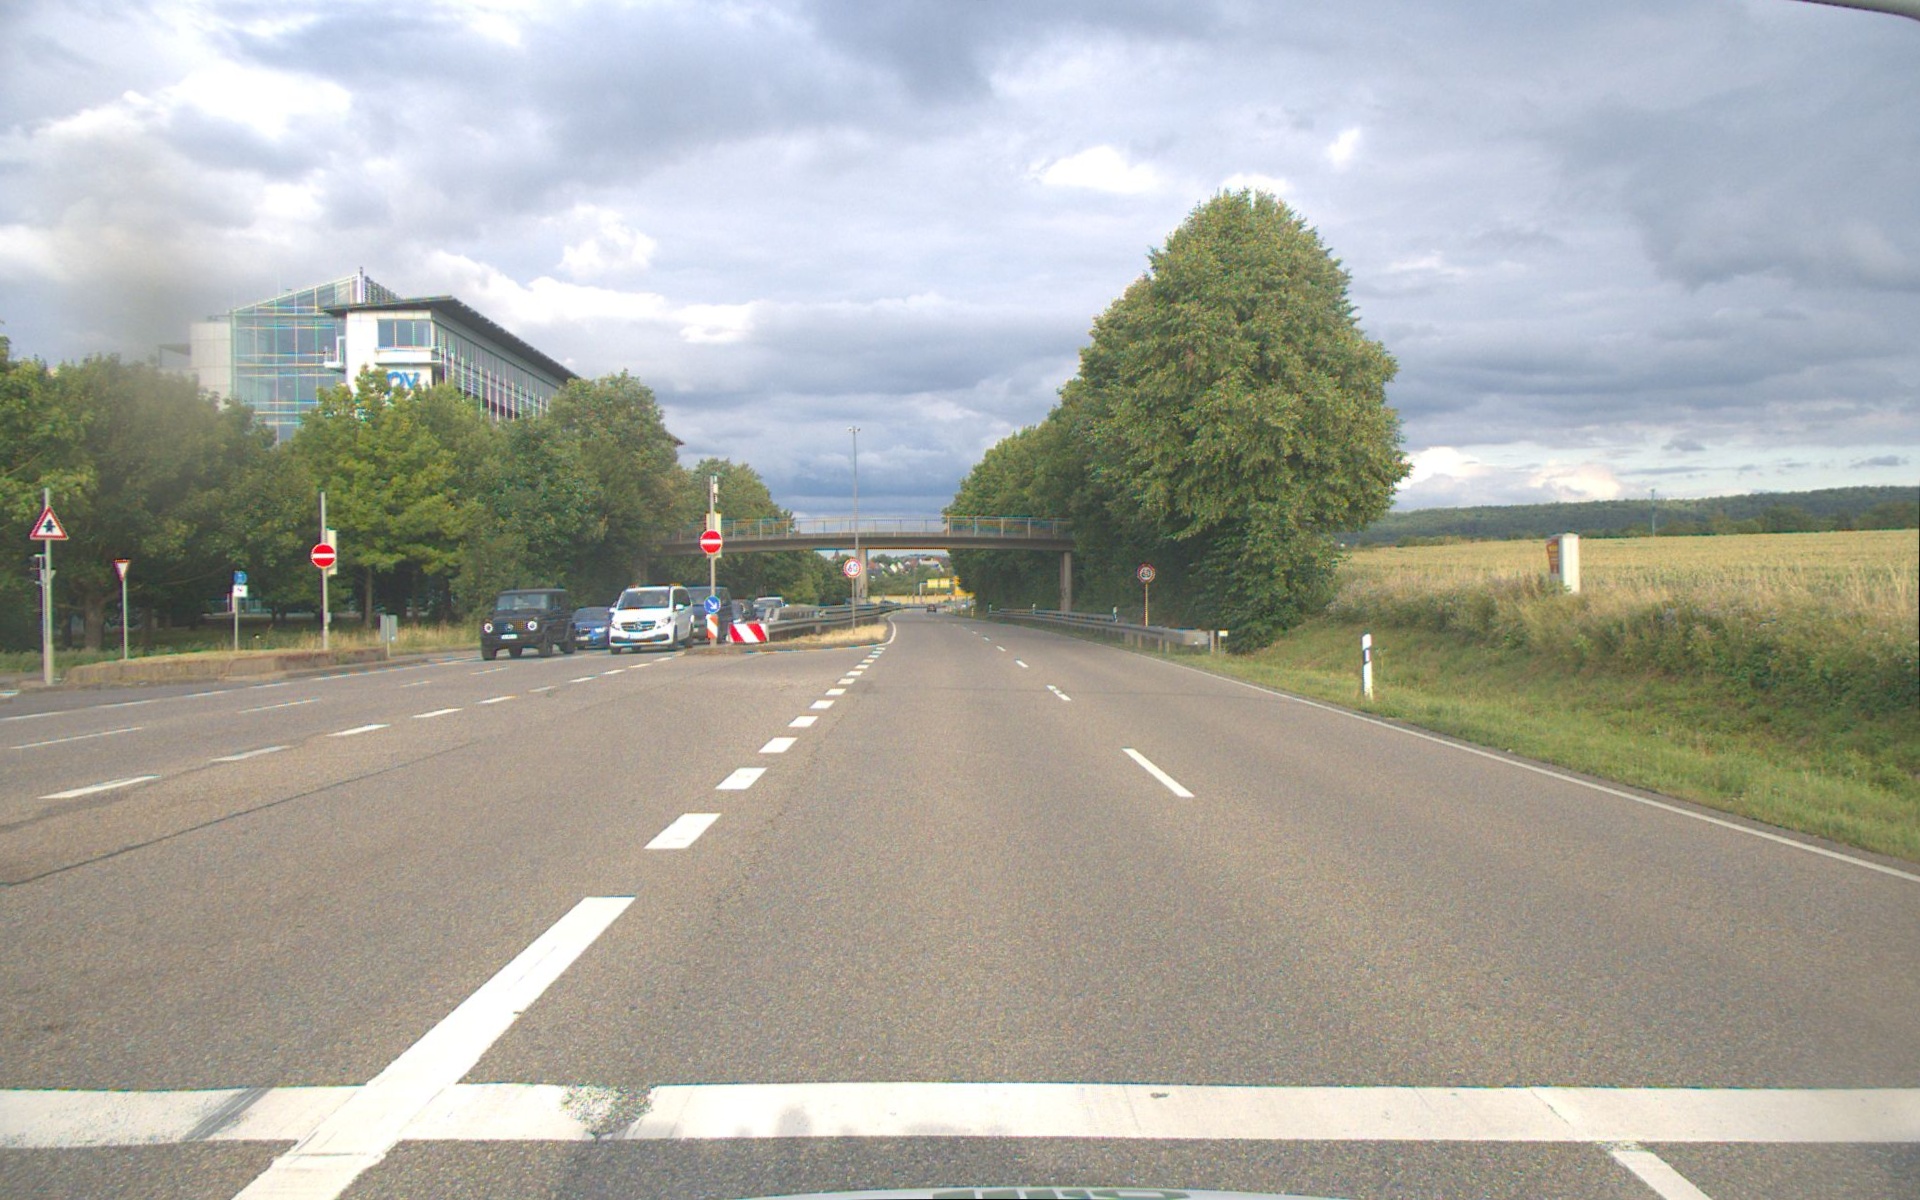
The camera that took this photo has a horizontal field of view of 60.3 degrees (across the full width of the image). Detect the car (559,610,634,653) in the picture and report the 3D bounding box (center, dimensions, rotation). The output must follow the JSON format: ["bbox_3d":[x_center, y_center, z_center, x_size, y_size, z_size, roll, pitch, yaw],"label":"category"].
[{"bbox_3d":[-12.296,1.047,56.123,1.687,1.261,3.999,-4,0,-2],"label":"car"}]

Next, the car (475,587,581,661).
[{"bbox_3d":[-12.784,0.680,49.269,1.895,2.025,5.089,-2,0,-2],"label":"car"}]

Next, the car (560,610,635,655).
[{"bbox_3d":[-12.252,1.078,56.097,1.614,1.412,4.185,-1,0,0],"label":"car"}]

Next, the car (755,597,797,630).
[{"bbox_3d":[-9.426,0.693,85.036,1.786,1.612,4.789,-1,0,-2],"label":"car"}]

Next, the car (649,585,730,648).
[{"bbox_3d":[-9.237,0.538,56.916,1.860,1.950,5.050,-4,0,0],"label":"car"}]

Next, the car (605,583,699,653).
[{"bbox_3d":[-9.140,0.521,49.474,1.895,1.905,5.345,-2,0,-2],"label":"car"}]
